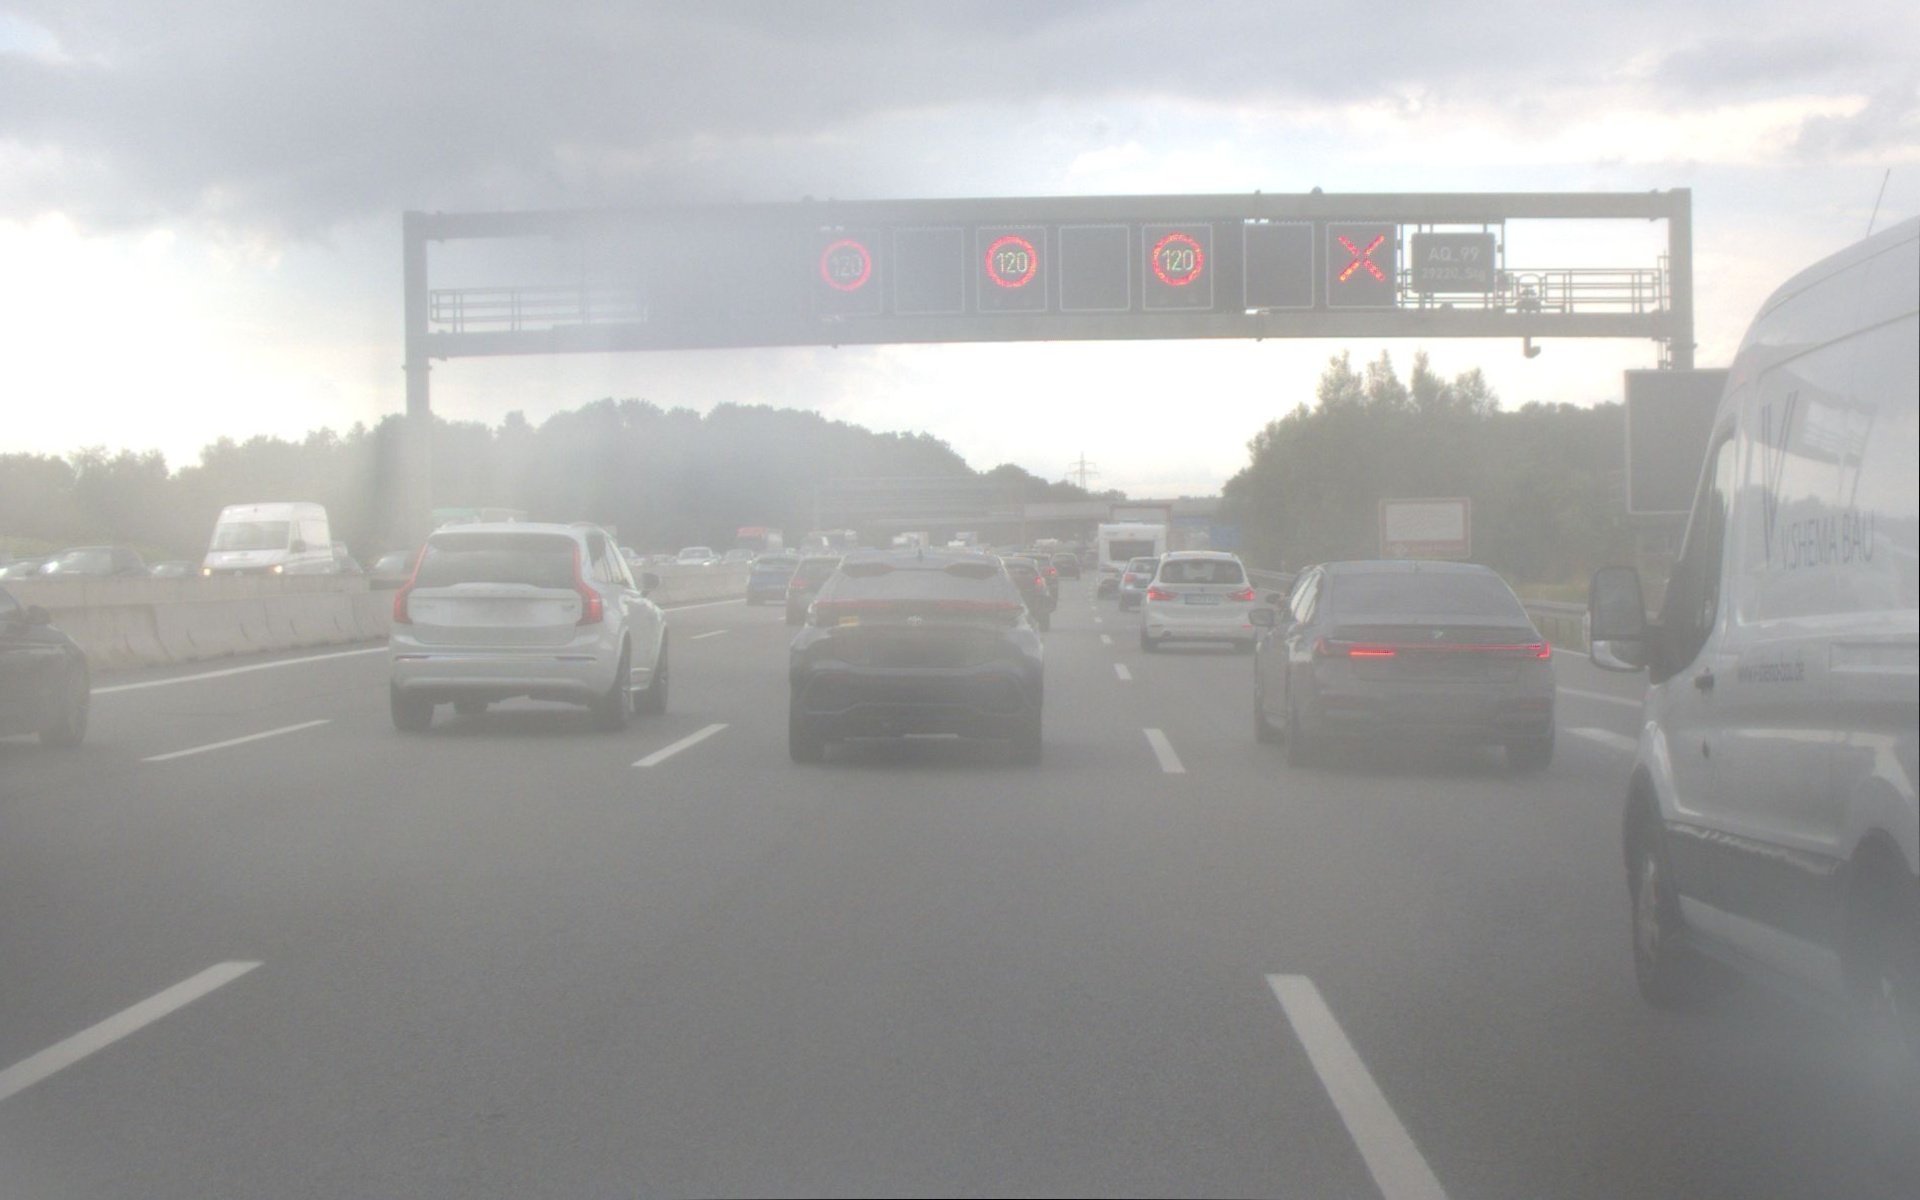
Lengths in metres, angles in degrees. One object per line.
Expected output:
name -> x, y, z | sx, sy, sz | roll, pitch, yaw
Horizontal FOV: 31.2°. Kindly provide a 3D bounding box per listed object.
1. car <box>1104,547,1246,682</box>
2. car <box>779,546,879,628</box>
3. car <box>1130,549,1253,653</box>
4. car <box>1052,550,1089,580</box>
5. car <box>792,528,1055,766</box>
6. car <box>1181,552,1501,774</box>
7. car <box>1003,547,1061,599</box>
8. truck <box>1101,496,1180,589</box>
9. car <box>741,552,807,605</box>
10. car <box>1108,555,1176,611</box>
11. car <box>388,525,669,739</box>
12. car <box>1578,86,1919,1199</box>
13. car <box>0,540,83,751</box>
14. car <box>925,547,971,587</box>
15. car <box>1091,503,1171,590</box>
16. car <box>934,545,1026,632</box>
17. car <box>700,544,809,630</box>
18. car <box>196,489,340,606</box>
car -> 2.815, 0.151, 44.214 | 1.707, 1.625, 4.456 | 1, 1, 5
car -> -2.750, -0.294, 73.038 | 1.881, 1.680, 4.000 | 1, 1, 1
car -> 3.686, -0.009, 55.366 | 1.810, 1.593, 4.695 | 1, 1, 2
car -> 6.142, -1.959, 191.897 | 1.881, 1.680, 4.000 | 1, 1, 0
car -> -0.308, 0.297, 25.801 | 1.781, 1.607, 4.598 | 1, 1, -2
car -> 2.735, 0.400, 25.705 | 1.939, 1.486, 4.775 | 1, 1, 1
car -> 2.383, -0.894, 113.761 | 1.881, 1.680, 4.000 | 1, 1, 1
truck -> 7.549, -2.379, 143.955 | 3.133, 3.697, 9.846 | 1, 1, 3
car -> -5.274, -0.621, 97.711 | 1.563, 1.472, 3.919 | 1, 1, 1
car -> 4.943, -0.473, 93.215 | 1.795, 1.472, 4.037 | 1, 1, 3
car -> -3.665, 0.234, 29.890 | 1.781, 1.710, 4.353 | 1, 1, 1
car -> 3.271, 0.083, 9.860 | 2.140, 2.492, 5.448 | 1, 1, 2
car -> -7.634, 0.310, 23.711 | 1.781, 1.476, 4.352 | 1, 1, 4
car -> -0.496, -1.414, 148.590 | 1.881, 1.680, 4.000 | 1, 1, 1
car -> 5.888, -1.830, 119.044 | 2.567, 2.885, 7.533 | 1, 1, 1
car -> 0.420, -0.243, 68.993 | 1.770, 1.680, 4.000 | 1, 1, 1
car -> -4.090, -0.290, 68.957 | 1.881, 1.680, 4.000 | 0, 1, 1
car -> -16.092, -1.206, 80.279 | 1.993, 2.607, 6.343 | 1, 1, 1
